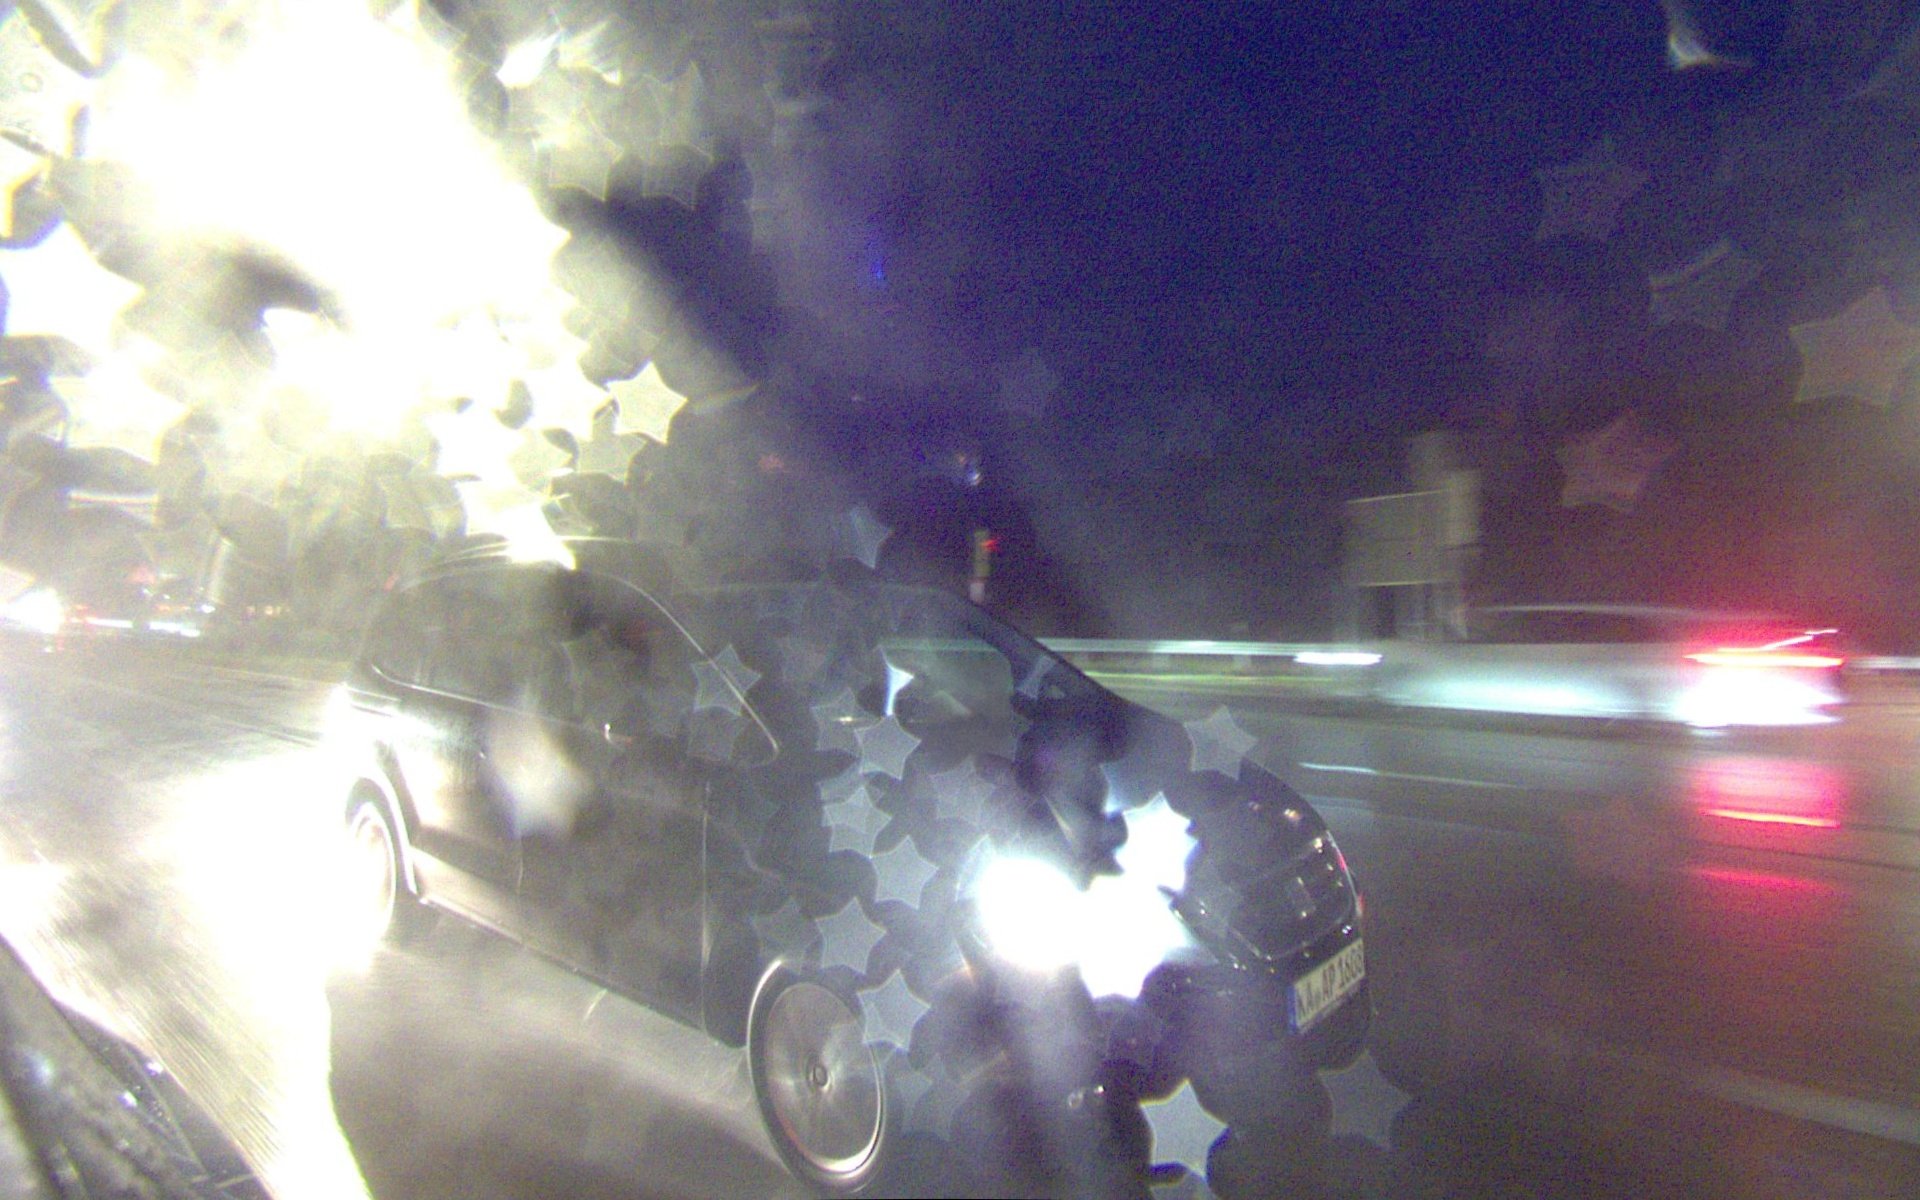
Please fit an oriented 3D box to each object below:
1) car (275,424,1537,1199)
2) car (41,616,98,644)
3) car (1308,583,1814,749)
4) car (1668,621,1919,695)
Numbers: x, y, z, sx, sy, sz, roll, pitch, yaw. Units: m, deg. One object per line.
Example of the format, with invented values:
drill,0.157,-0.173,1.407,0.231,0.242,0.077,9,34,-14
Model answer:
car,-0.751,0.609,3.912,4.935,1.717,1.890,0,-1,41
car,-52.515,1.752,59.669,4.368,1.510,1.638,0,-3,38
car,6.860,0.644,11.950,4.912,1.583,1.773,0,-1,42
car,18.232,1.249,22.170,4.070,1.460,2.185,1,0,-9
